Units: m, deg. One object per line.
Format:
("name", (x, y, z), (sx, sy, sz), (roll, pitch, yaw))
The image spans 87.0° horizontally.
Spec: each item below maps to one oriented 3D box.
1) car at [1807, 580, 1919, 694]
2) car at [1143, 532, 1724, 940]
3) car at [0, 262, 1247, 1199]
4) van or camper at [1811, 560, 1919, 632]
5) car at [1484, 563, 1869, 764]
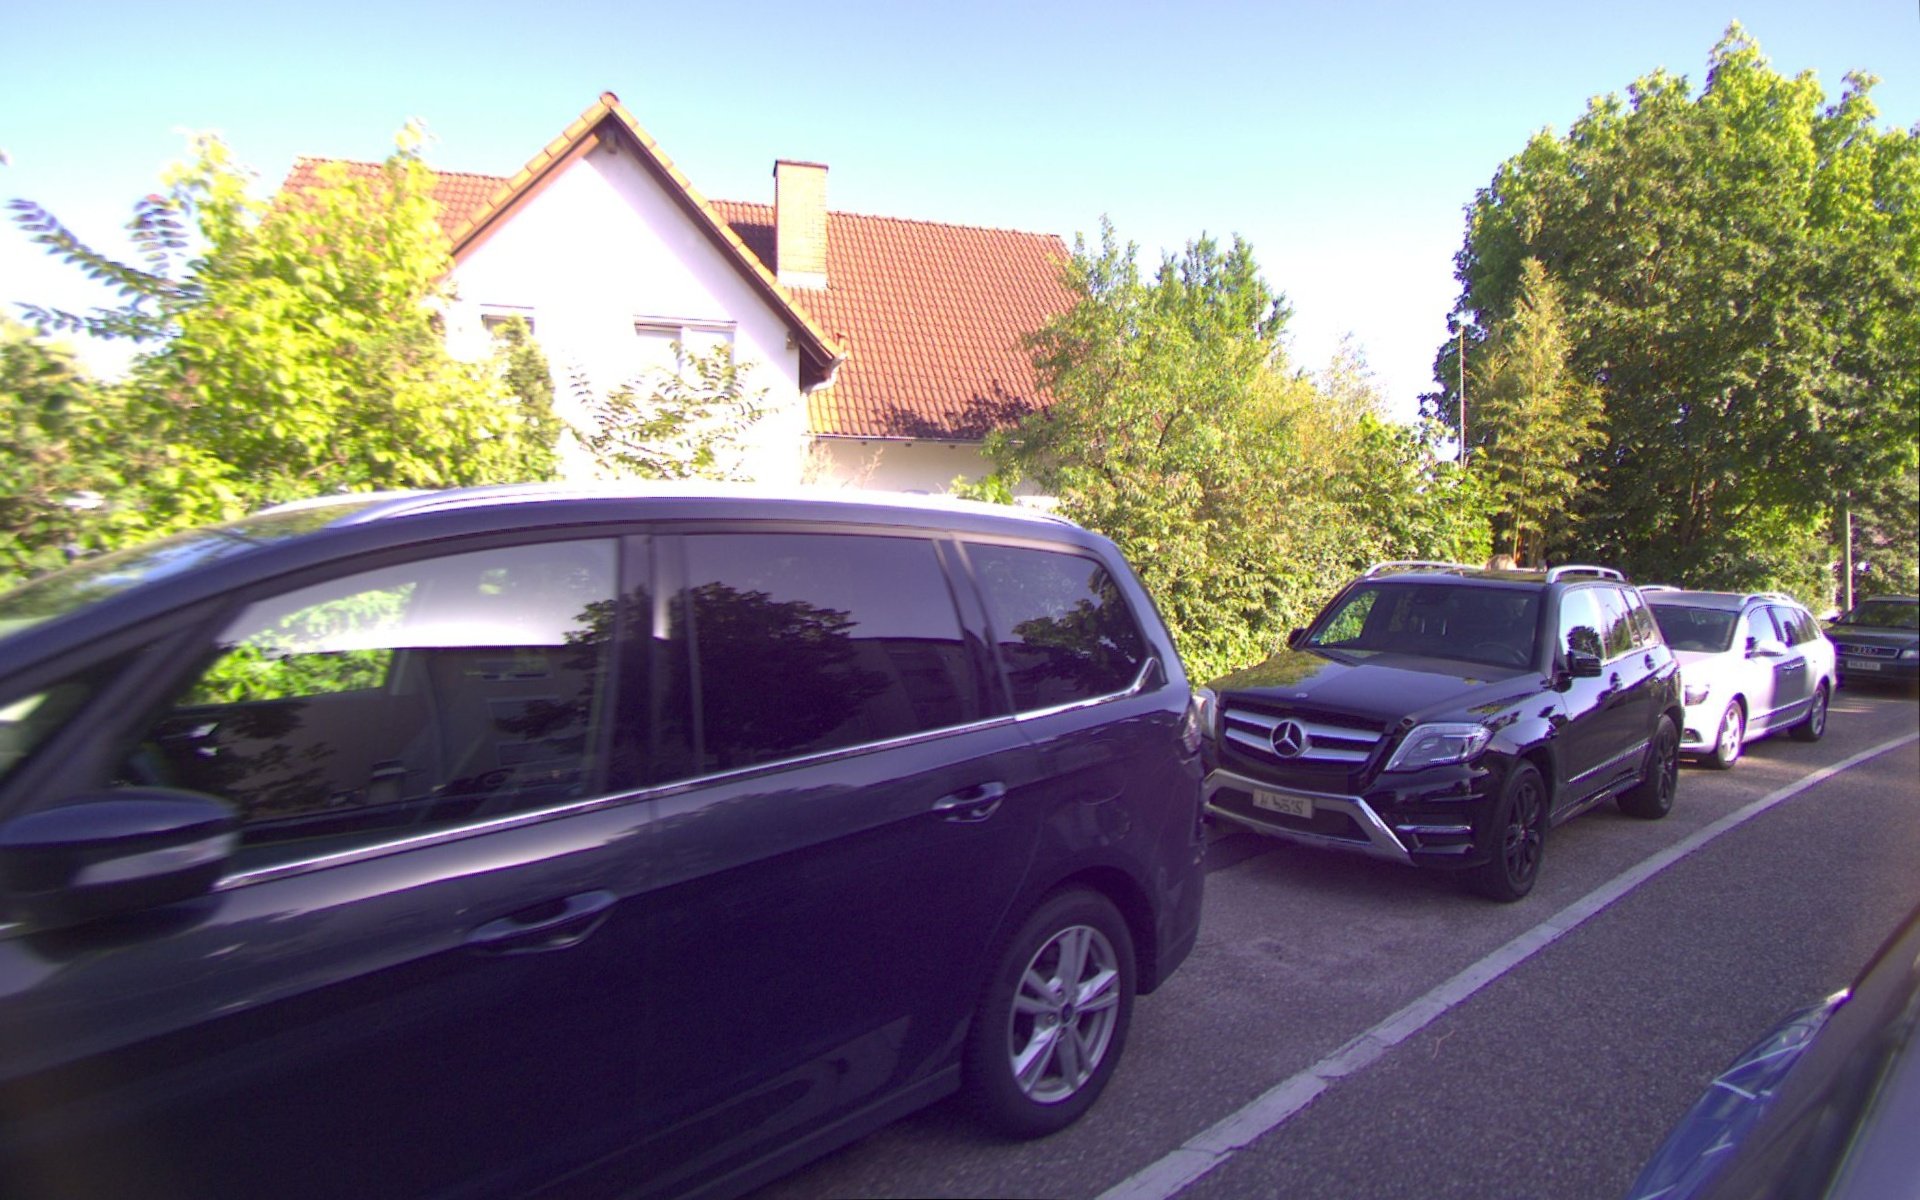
("car", (14.915, 0.489, 15.593), (4.378, 1.583, 1.660), (-1, 0, -33))
("car", (3.189, 0.544, 6.331), (4.319, 1.697, 1.765), (-1, 0, -42))
("car", (-1.250, 0.487, 2.407), (4.355, 1.836, 1.744), (-1, 0, -43))
("van or camper", (27.659, -0.125, 29.563), (1.909, 2.039, 3.861), (0, 0, -15))
("car", (7.228, 0.477, 10.036), (4.575, 1.583, 1.768), (-1, 0, -36))
